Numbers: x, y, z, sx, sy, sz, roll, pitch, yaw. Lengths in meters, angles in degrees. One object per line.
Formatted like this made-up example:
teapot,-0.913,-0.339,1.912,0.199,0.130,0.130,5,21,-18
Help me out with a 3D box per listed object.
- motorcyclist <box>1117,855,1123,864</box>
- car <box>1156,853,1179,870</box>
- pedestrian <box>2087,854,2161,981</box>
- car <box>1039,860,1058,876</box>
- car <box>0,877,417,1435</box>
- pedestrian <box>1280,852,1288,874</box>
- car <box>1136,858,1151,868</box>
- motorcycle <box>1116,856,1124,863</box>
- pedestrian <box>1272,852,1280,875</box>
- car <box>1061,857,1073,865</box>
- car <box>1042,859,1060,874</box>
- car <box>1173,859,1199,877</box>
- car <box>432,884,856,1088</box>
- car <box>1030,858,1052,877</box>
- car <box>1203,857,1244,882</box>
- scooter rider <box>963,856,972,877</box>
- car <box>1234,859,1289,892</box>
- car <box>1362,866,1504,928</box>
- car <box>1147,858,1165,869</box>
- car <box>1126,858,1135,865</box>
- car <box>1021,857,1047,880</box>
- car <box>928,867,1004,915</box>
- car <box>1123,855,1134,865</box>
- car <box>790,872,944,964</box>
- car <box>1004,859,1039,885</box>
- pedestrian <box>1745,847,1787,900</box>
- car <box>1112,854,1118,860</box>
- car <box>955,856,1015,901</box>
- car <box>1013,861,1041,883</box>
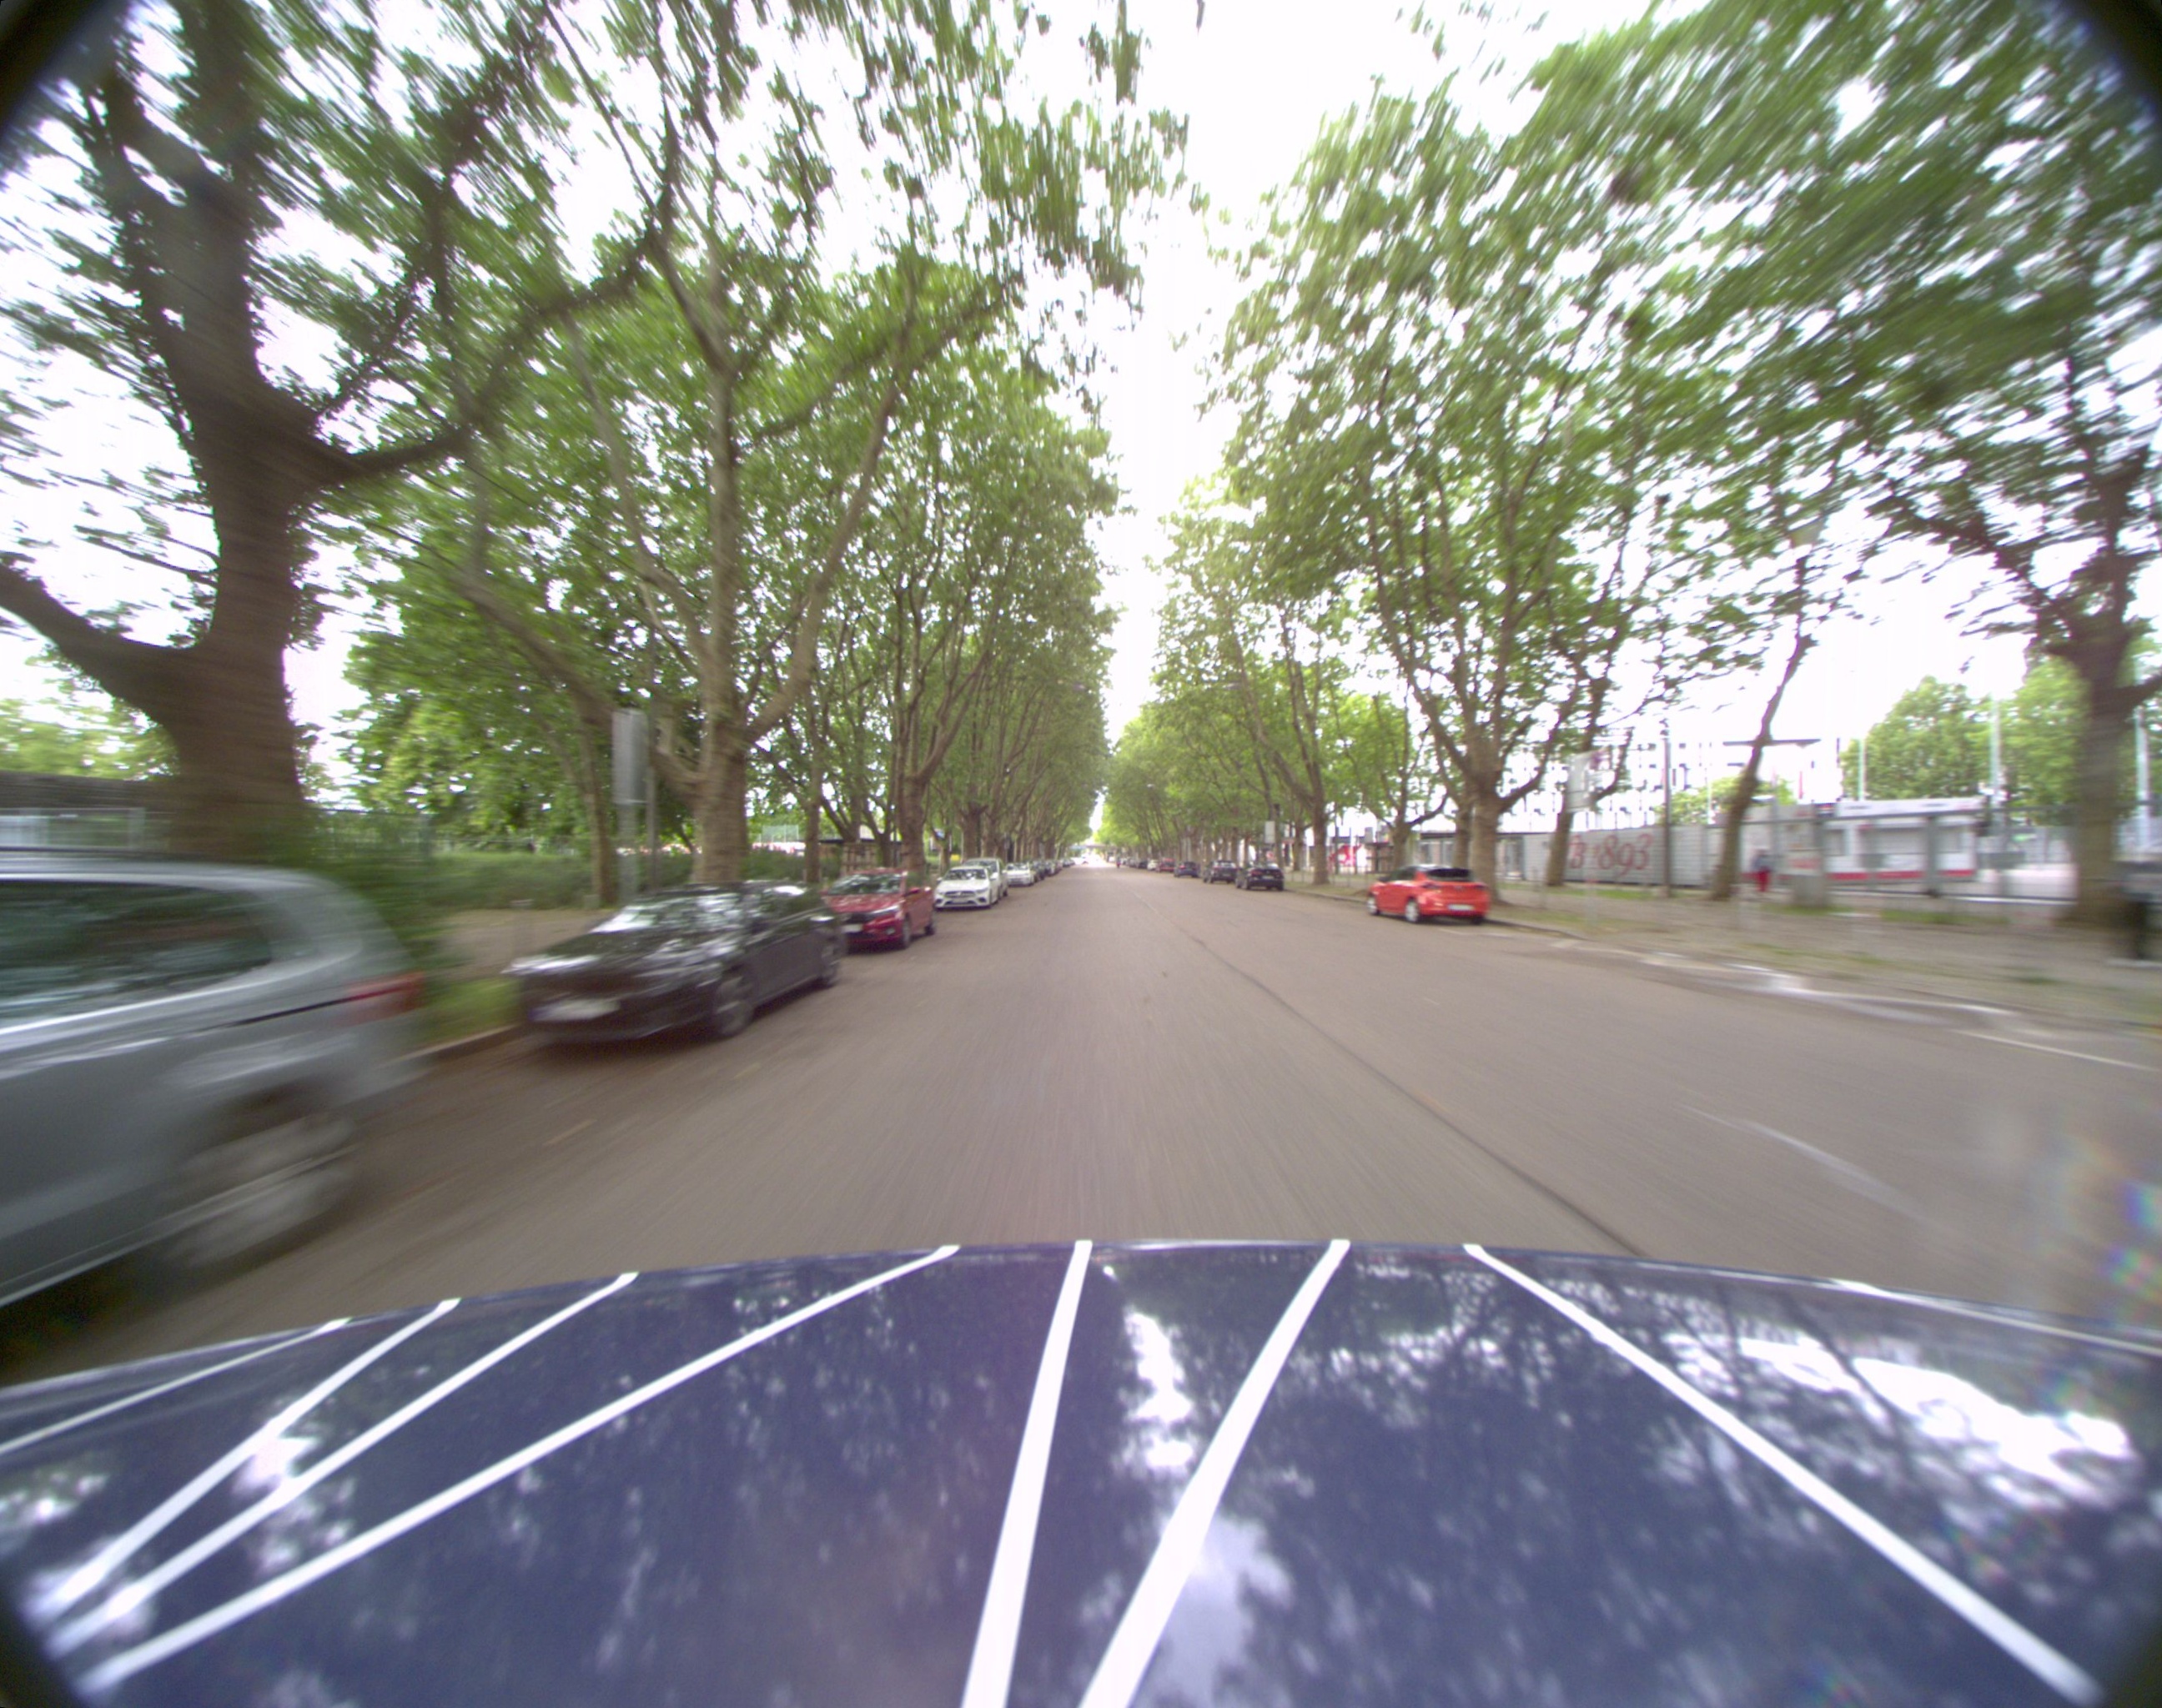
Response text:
motorcyclist,6.193,0.830,120.366,0.872,1.471,1.265,-1,0,-3
car,9.569,0.813,84.287,1.954,1.740,4.638,1,0,0
pedestrian,14.135,0.812,10.070,0.593,1.610,0.792,-1,0,10
car,-3.235,1.377,76.751,1.620,1.433,3.710,-3,0,2
car,-4.330,0.969,1.425,1.986,1.670,4.731,-1,0,0
pedestrian,15.863,0.701,59.270,0.575,1.732,0.768,-1,0,15
car,9.537,1.398,116.336,1.838,1.485,4.443,3,0,1
motorcycle,6.202,0.929,120.341,0.875,1.073,3.052,-1,0,-3
pedestrian,15.249,0.727,59.439,0.577,1.759,0.768,-1,0,15
car,-2.509,1.286,137.000,1.998,1.469,4.371,-2,0,0
car,-3.208,1.372,82.249,1.672,1.500,4.354,-2,0,1
car,9.136,1.172,66.319,1.729,1.477,4.575,-1,0,1
car,-4.096,1.123,8.196,1.881,1.419,4.480,-1,0,1
car,-3.701,1.210,71.363,1.782,1.663,4.637,-1,0,0
car,9.091,0.990,48.767,1.882,1.518,4.151,0,0,1
scooter rider,-10.204,1.126,68.419,0.678,1.789,0.587,1,0,1
car,8.837,1.011,37.567,1.831,1.457,4.628,1,0,3
car,8.741,1.017,19.277,1.813,1.346,4.000,-1,0,1
car,9.707,1.197,98.344,1.908,1.394,4.751,3,0,1
car,10.825,1.614,166.161,1.822,1.584,4.345,3,0,3
car,-3.553,1.089,58.457,1.712,1.688,4.630,-2,0,-1
car,-3.838,1.194,26.112,1.882,1.419,4.586,-1,0,0
car,9.498,1.147,151.325,1.900,1.785,4.612,2,0,0
car,-4.078,1.156,15.225,1.861,1.473,4.177,-1,0,0
car,-3.543,1.062,45.740,1.711,1.419,3.889,-2,0,1
pedestrian,20.309,0.564,22.539,0.669,1.535,0.660,-1,0,1
car,11.844,1.033,263.251,2.064,1.949,5.467,0,-1,2
car,-3.955,0.966,31.993,1.907,1.728,4.506,-1,0,1
car,-3.704,1.211,52.709,1.712,1.407,4.360,-1,0,-2
